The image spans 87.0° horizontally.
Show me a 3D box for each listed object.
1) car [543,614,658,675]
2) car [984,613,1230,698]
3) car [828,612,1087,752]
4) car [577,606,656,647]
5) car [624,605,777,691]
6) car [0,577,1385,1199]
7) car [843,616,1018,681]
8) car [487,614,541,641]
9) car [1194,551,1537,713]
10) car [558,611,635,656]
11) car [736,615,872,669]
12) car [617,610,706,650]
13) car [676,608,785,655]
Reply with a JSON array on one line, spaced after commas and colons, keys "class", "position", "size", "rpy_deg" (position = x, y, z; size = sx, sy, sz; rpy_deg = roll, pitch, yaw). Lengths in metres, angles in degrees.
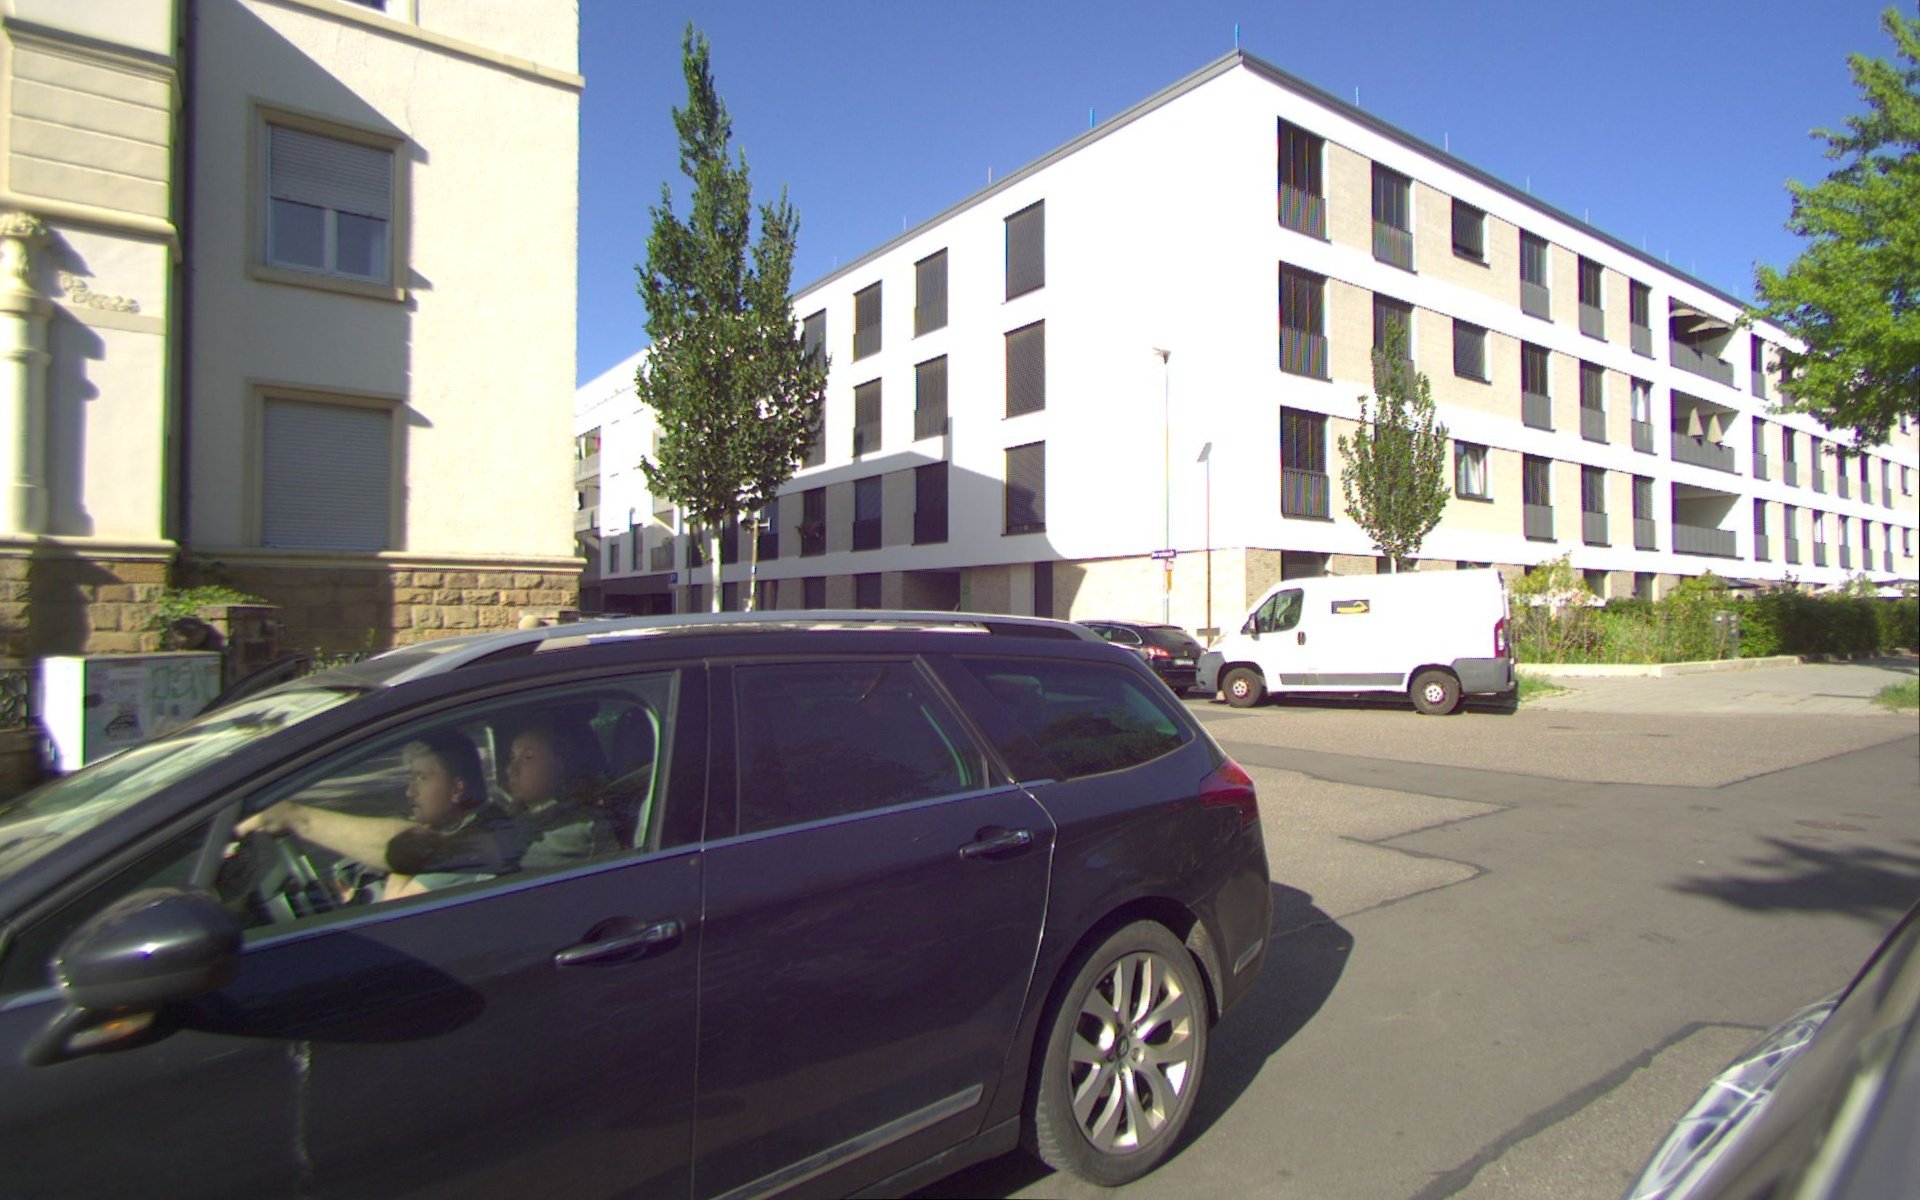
[{"class": "car", "position": [-9.884, 1.158, 27.561], "size": [1.792, 1.488, 4.943], "rpy_deg": [0, -2, -34]}, {"class": "car", "position": [2.787, 1.011, 20.351], "size": [2.009, 1.488, 4.941], "rpy_deg": [1, -1, -36]}, {"class": "car", "position": [-0.277, 0.915, 13.486], "size": [1.912, 1.488, 4.742], "rpy_deg": [0, -1, -21]}, {"class": "car", "position": [-15.052, 1.171, 44.189], "size": [1.929, 1.707, 4.525], "rpy_deg": [1, -2, -37]}, {"class": "car", "position": [-5.729, 0.959, 22.000], "size": [1.800, 1.662, 4.183], "rpy_deg": [0, -1, -36]}, {"class": "car", "position": [-1.184, 0.759, 2.516], "size": [4.875, 1.544, 1.900], "rpy_deg": [-1, -1, -37]}, {"class": "car", "position": [-0.856, 1.149, 25.237], "size": [1.924, 1.447, 4.942], "rpy_deg": [3, -2, -35]}, {"class": "car", "position": [-26.120, 1.629, 59.183], "size": [1.929, 1.489, 4.525], "rpy_deg": [1, -2, -37]}, {"class": "car", "position": [6.695, 0.484, 16.885], "size": [5.017, 2.335, 2.209], "rpy_deg": [-1, -1, 32]}, {"class": "car", "position": [-13.614, 1.198, 37.796], "size": [1.754, 1.543, 4.000], "rpy_deg": [0, 0, -35]}, {"class": "car", "position": [-4.804, 1.242, 30.577], "size": [1.929, 1.489, 4.939], "rpy_deg": [1, -2, -37]}, {"class": "car", "position": [-11.915, 1.211, 40.240], "size": [1.929, 1.489, 4.525], "rpy_deg": [1, -2, -37]}, {"class": "car", "position": [-7.925, 1.074, 34.680], "size": [1.929, 1.489, 4.525], "rpy_deg": [1, -2, -37]}]
